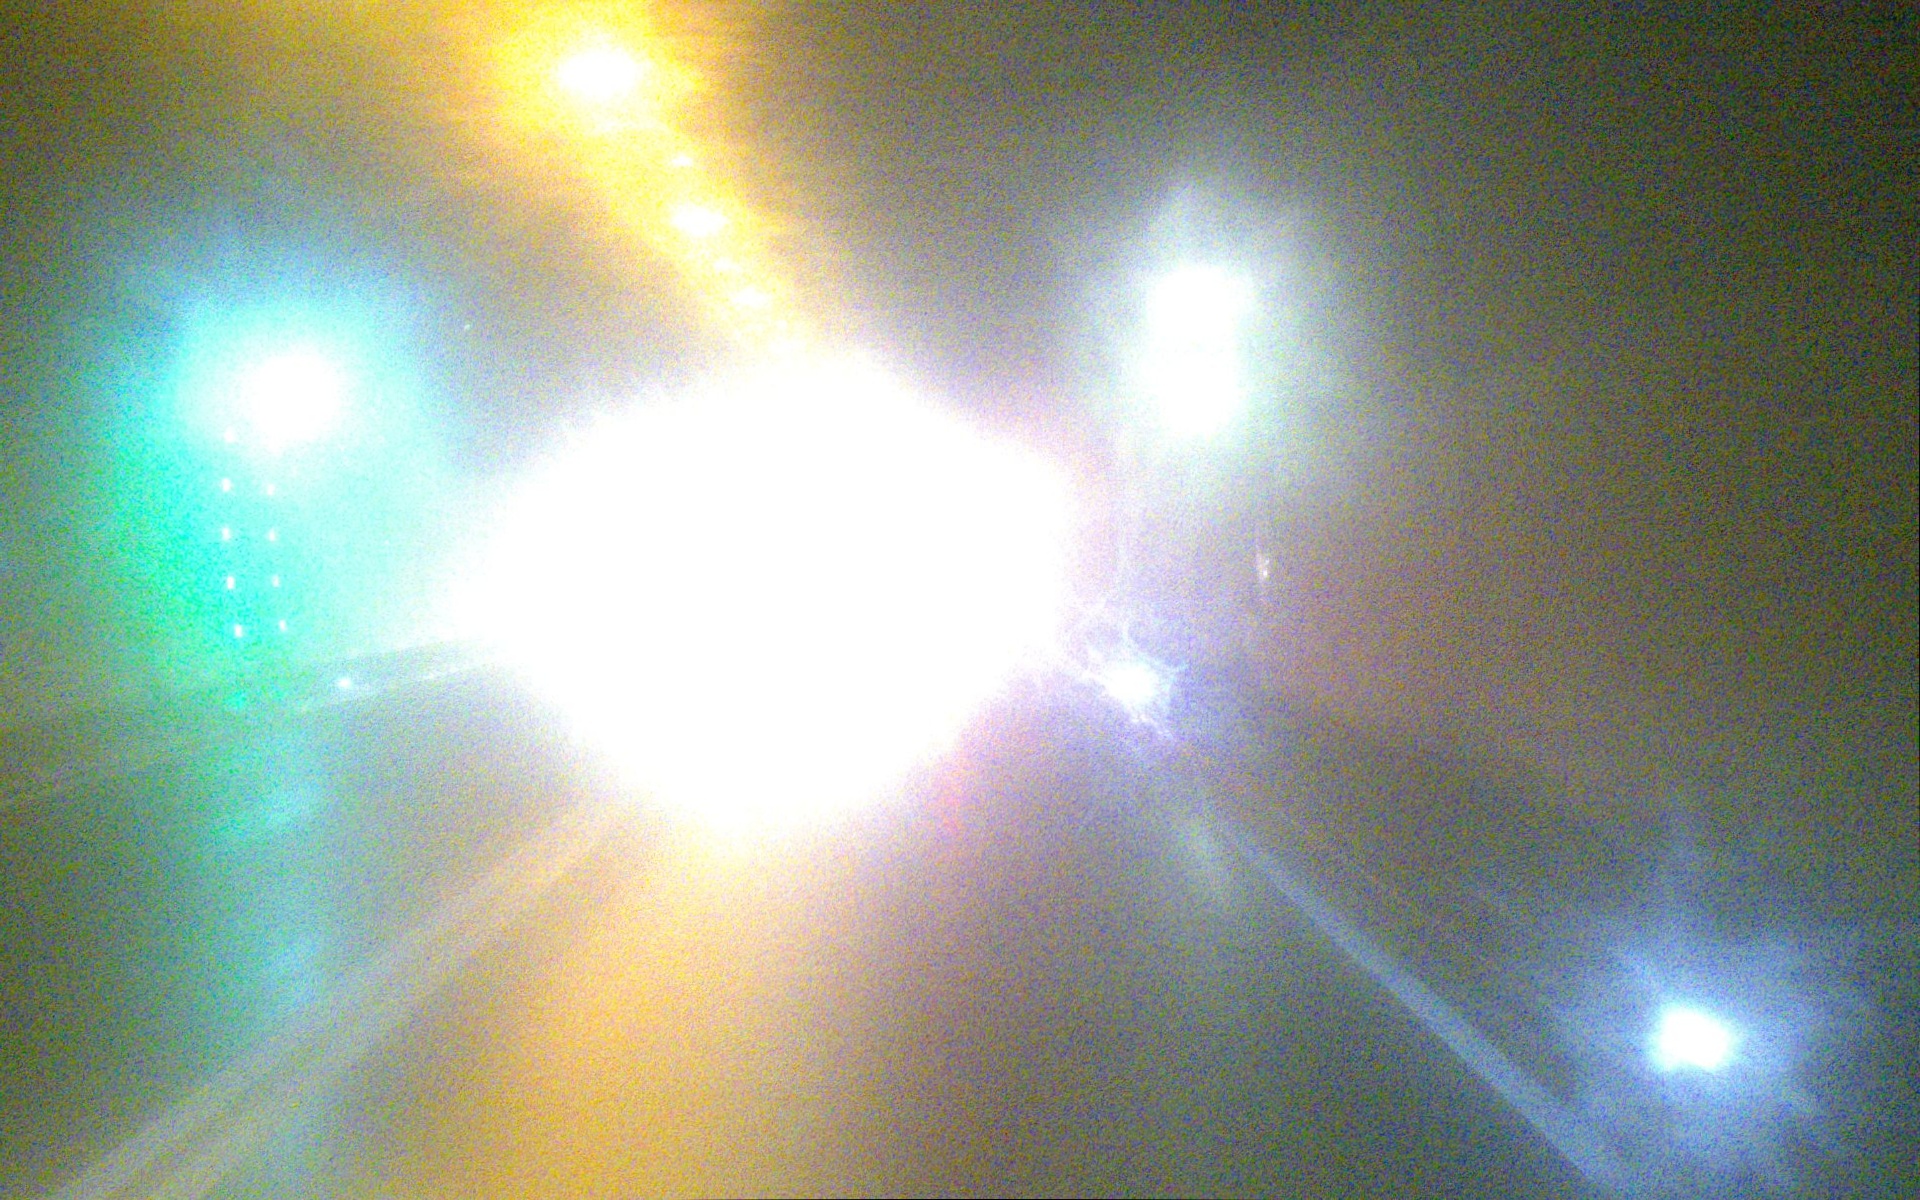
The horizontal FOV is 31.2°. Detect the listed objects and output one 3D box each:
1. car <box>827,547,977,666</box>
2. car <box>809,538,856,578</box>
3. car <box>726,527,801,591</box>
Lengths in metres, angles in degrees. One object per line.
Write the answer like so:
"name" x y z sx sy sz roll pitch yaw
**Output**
"car" -0.865 0.070 50.475 2.089 1.656 4.000 -1 1 -1
"car" -4.881 -1.611 131.803 1.710 1.457 3.575 -1 1 -1
"car" -4.740 -1.001 83.456 1.690 1.500 3.745 -1 1 -2
